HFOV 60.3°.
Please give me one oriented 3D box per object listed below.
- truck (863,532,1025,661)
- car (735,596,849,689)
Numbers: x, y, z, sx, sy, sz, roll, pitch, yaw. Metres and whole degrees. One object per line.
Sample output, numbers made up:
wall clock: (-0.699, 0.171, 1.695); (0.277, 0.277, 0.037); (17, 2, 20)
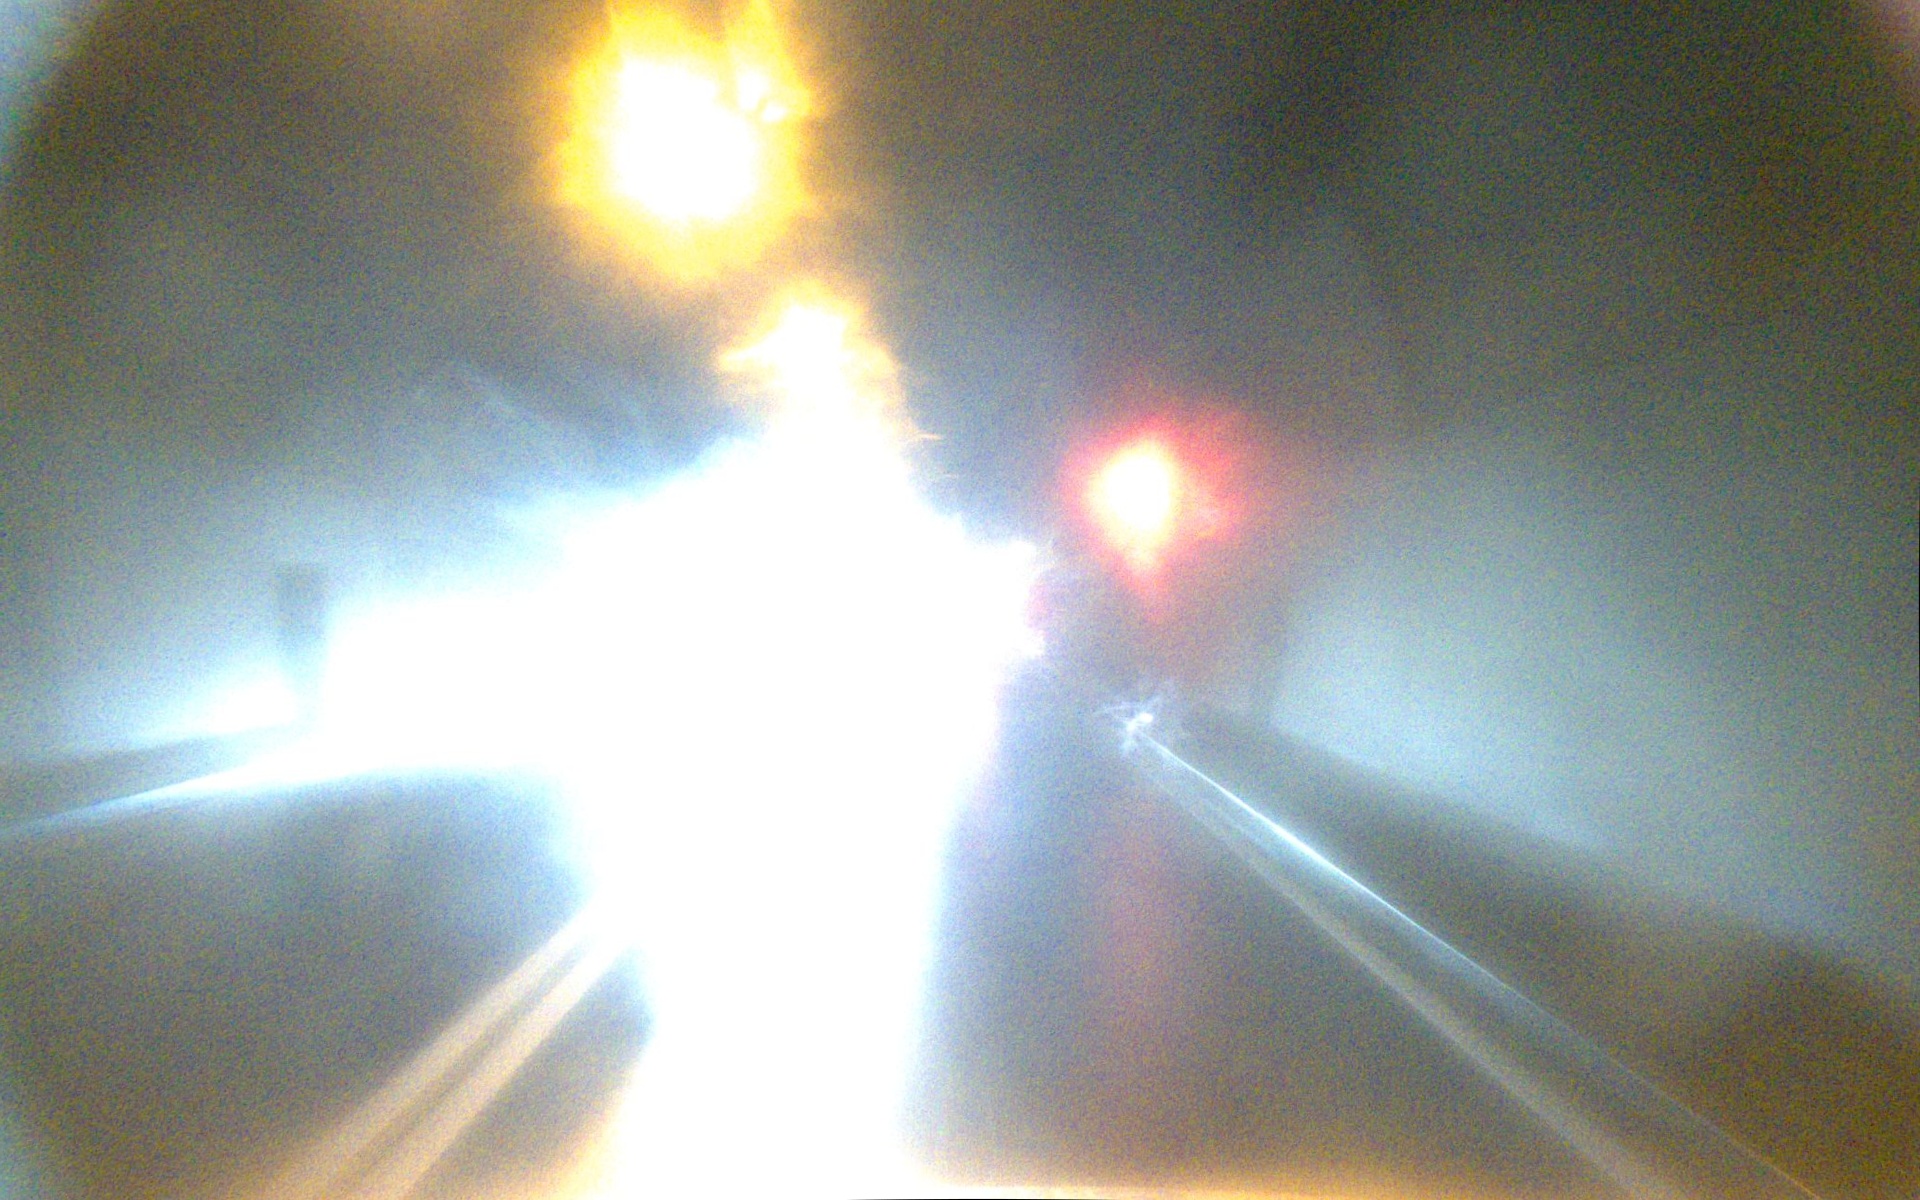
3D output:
truck: (-0.367, -0.073, 39.993); (3.463, 2.740, 8.955); (0, 0, 0)
car: (-3.094, 0.750, 31.110); (1.721, 1.555, 3.814); (3, 0, -1)
